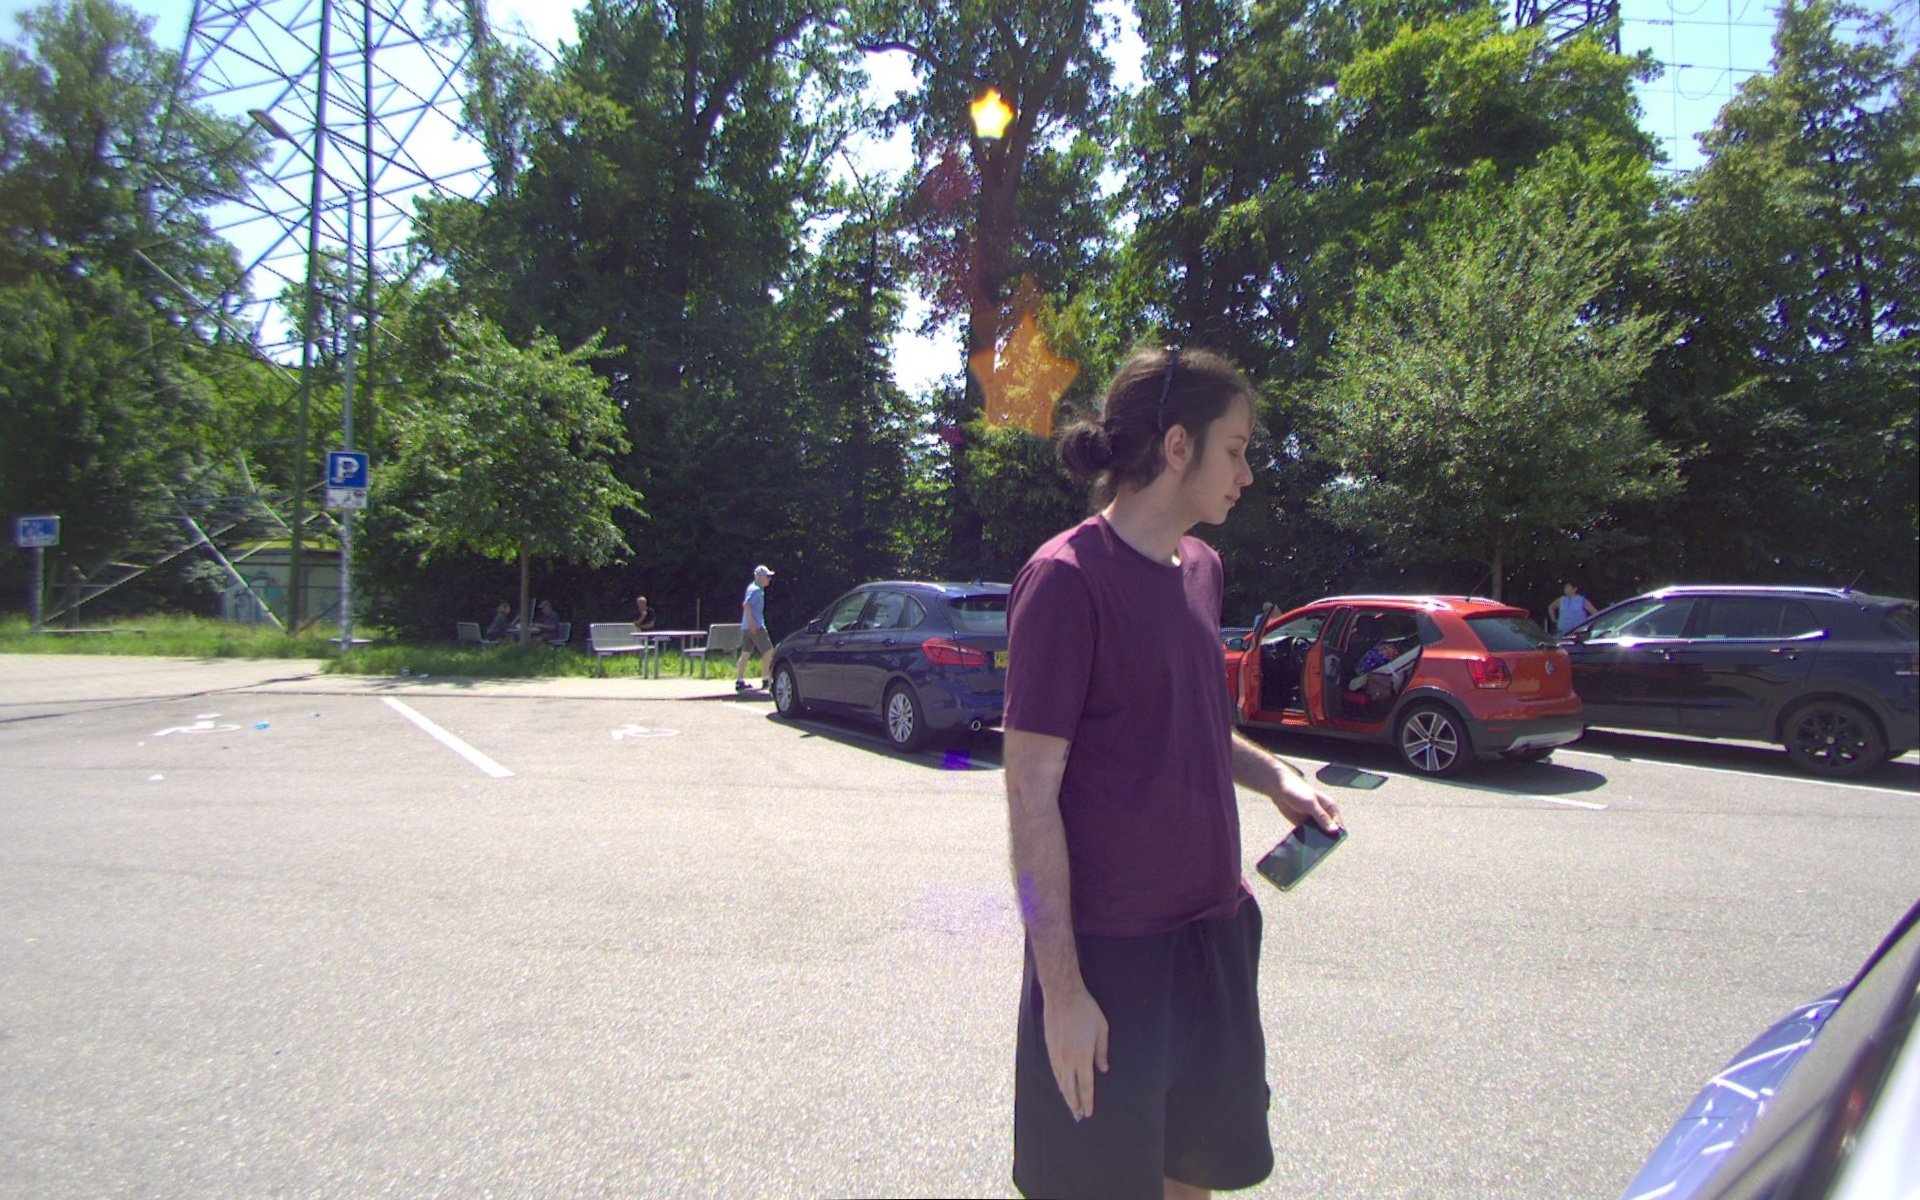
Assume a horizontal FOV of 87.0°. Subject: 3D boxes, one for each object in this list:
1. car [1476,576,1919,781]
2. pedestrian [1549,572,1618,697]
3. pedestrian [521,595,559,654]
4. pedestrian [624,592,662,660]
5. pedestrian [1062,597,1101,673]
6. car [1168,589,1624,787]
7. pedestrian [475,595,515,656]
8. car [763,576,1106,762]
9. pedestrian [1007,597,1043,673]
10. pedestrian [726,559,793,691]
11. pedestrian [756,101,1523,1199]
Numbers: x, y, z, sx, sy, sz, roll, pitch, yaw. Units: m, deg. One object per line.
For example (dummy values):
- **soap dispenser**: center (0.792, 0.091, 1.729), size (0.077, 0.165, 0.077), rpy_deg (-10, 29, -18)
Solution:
- **car**: center (7.243, 0.599, 9.701), size (1.707, 1.607, 3.732), rpy_deg (1, 0, -39)
- **pedestrian**: center (9.408, 0.509, 15.290), size (0.754, 1.854, 0.518), rpy_deg (0, 0, 14)
- **pedestrian**: center (-9.737, 0.554, 23.471), size (0.687, 1.352, 0.563), rpy_deg (0, 0, -40)
- **pedestrian**: center (-6.666, 0.529, 21.309), size (0.553, 1.408, 0.700), rpy_deg (0, 0, 2)
- **pedestrian**: center (2.039, 0.586, 17.008), size (0.576, 1.251, 0.697), rpy_deg (0, -1, 1)
- **car**: center (3.878, 0.649, 9.586), size (1.559, 1.467, 3.737), rpy_deg (1, 0, -33)
- **pedestrian**: center (-10.495, 0.564, 22.832), size (0.687, 1.352, 0.563), rpy_deg (0, 0, -40)
- **car**: center (-0.460, 0.562, 10.659), size (1.776, 1.562, 3.940), rpy_deg (1, 0, -34)
- **pedestrian**: center (1.091, 0.591, 17.074), size (0.576, 1.251, 0.697), rpy_deg (0, -1, 1)
- **pedestrian**: center (-2.759, 0.326, 13.962), size (0.664, 1.754, 0.832), rpy_deg (0, 0, 8)
- **pedestrian**: center (0.239, 0.417, 1.618), size (0.844, 1.857, 0.865), rpy_deg (0, 0, -33)
